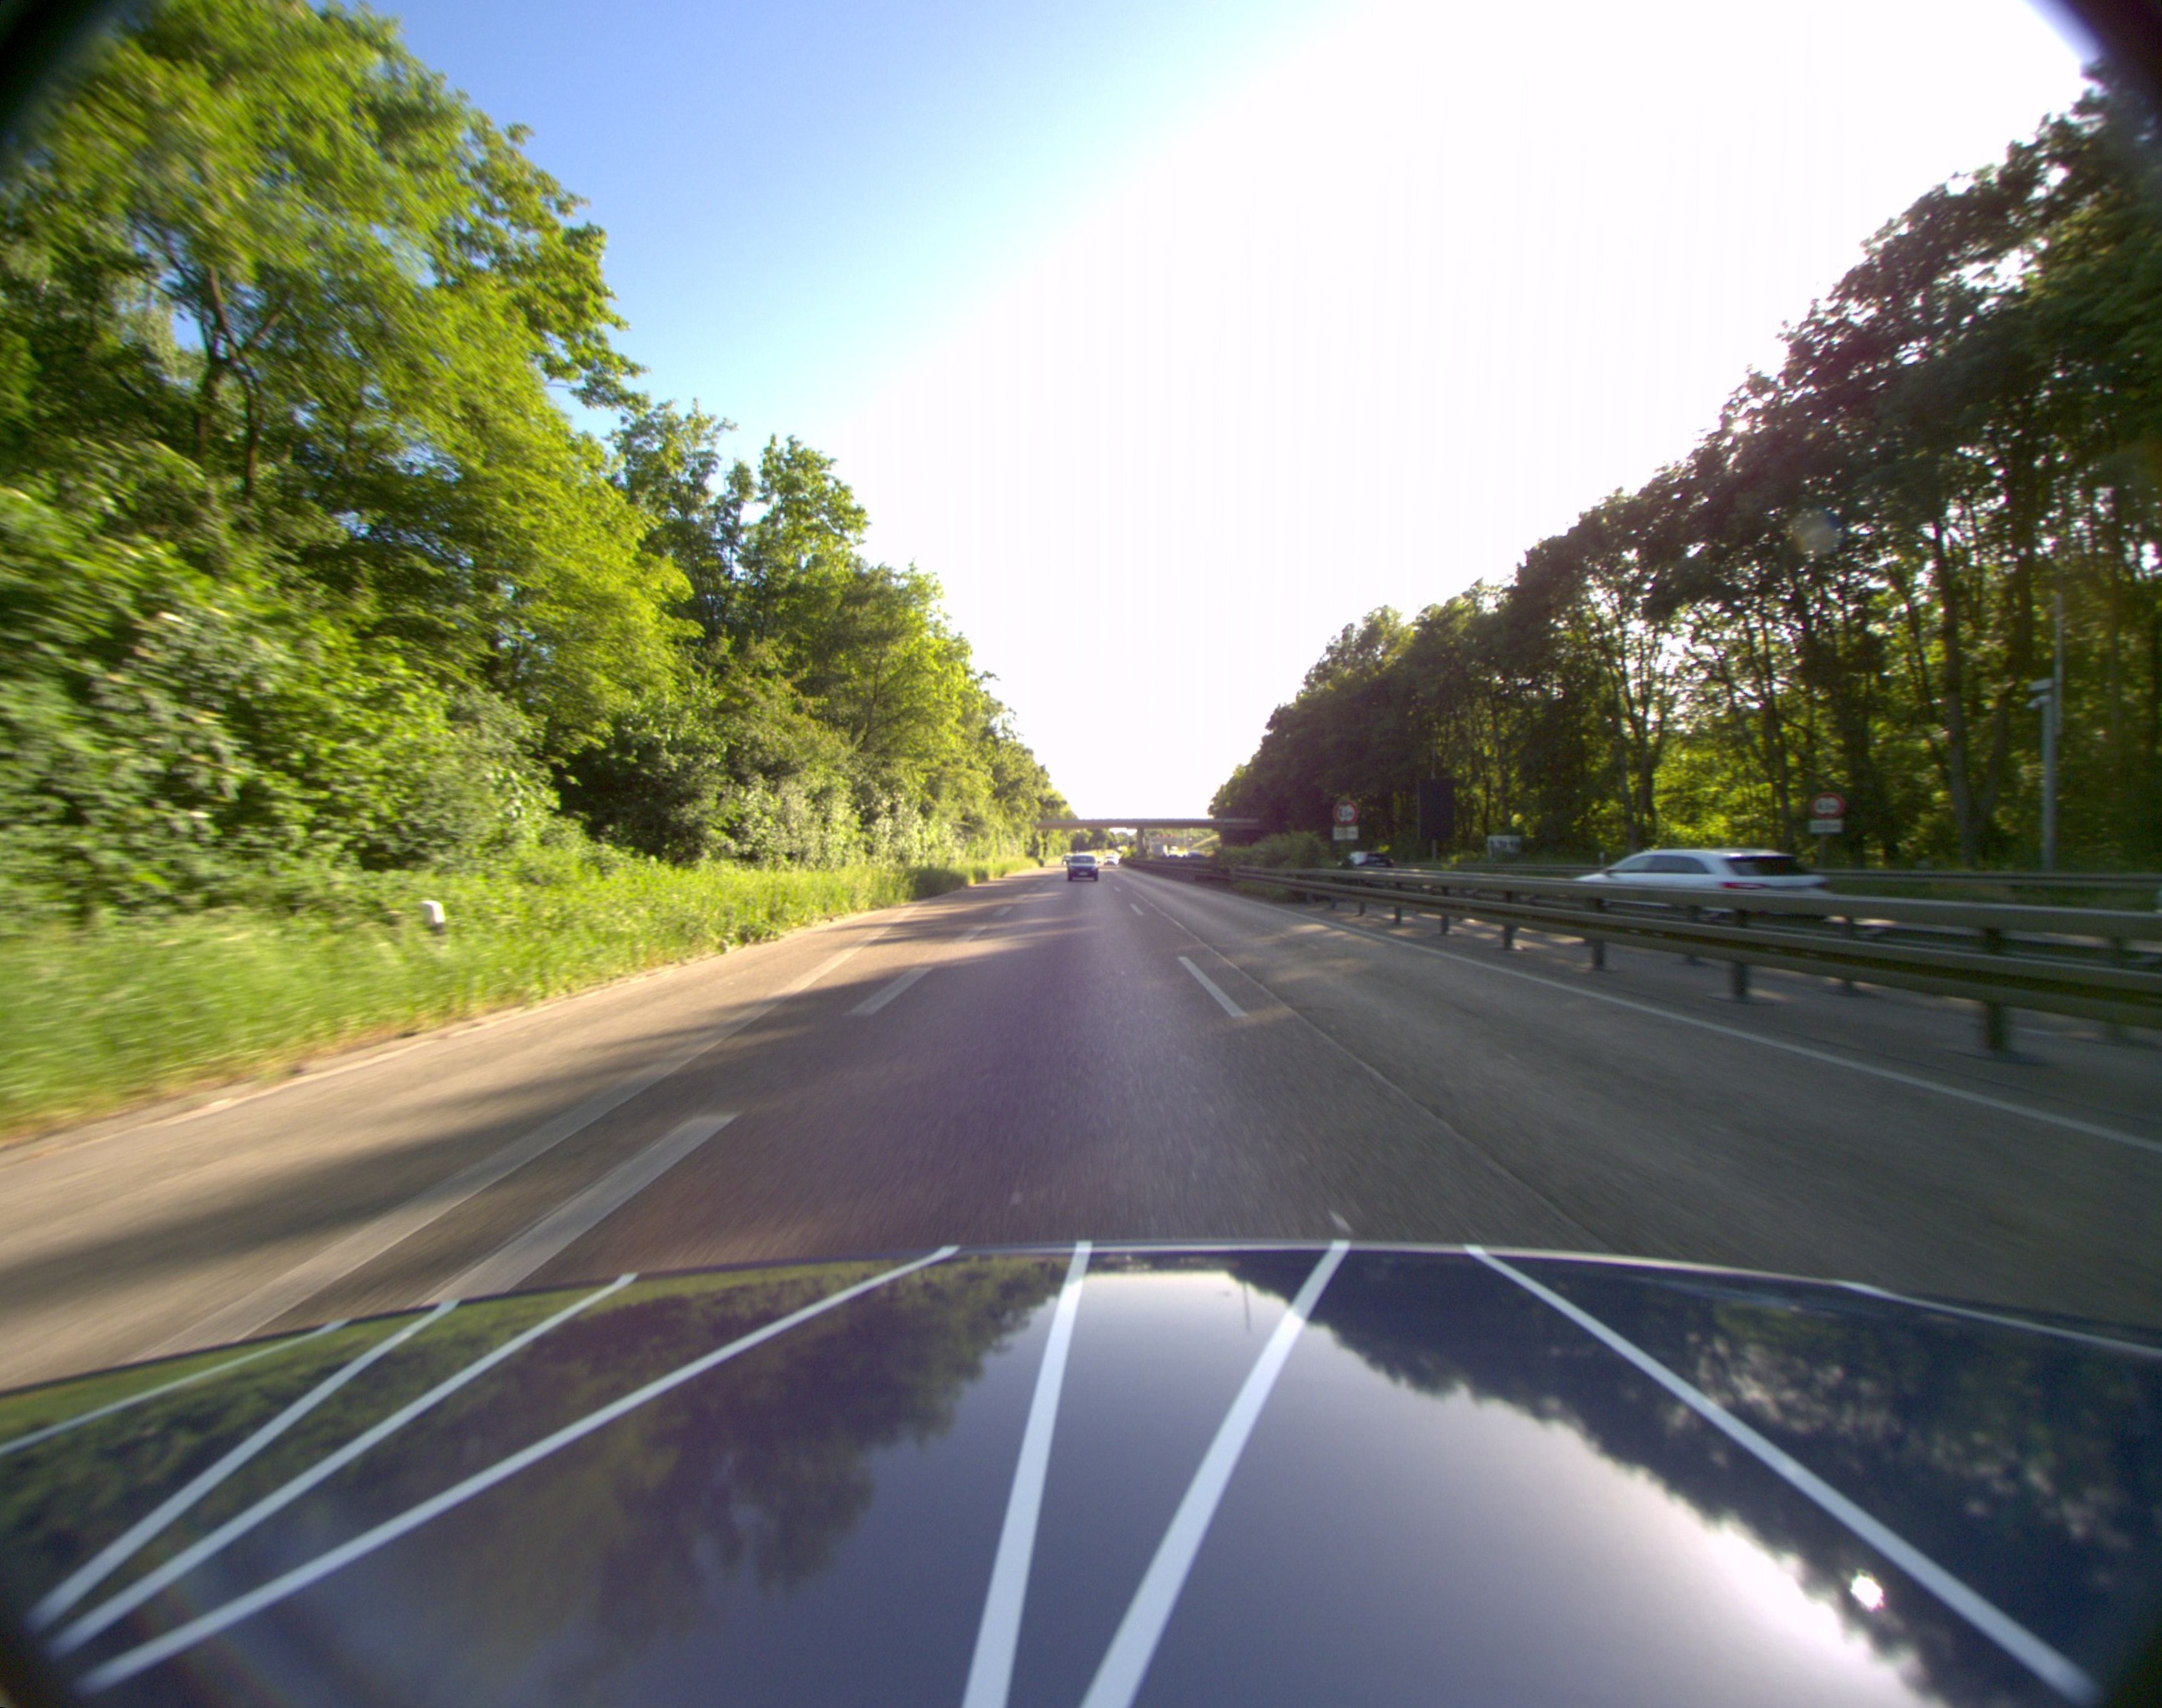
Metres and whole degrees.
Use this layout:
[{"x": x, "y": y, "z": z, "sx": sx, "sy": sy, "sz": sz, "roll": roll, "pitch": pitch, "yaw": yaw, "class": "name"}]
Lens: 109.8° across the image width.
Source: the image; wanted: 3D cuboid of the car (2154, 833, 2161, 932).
[{"x": 18.321, "y": 0.484, "z": 9.903, "sx": 1.998, "sy": 1.591, "sz": 4.707, "roll": 0, "pitch": 1, "yaw": 0, "class": "car"}]

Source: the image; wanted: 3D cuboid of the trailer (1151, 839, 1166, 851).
[{"x": 20.519, "y": -2.383, "z": 201.157, "sx": 2.937, "sy": 3.150, "sz": 11.916, "roll": 0, "pitch": 1, "yaw": 2, "class": "trailer"}]

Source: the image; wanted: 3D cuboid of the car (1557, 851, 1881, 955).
[{"x": 11.226, "y": 0.734, "z": 13.964, "sx": 1.998, "sy": 1.551, "sz": 4.707, "roll": 0, "pitch": 1, "yaw": 0, "class": "car"}]

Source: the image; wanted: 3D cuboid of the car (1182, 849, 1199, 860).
[{"x": 17.050, "y": 0.077, "z": 118.377, "sx": 1.998, "sy": 1.740, "sz": 4.372, "roll": 0, "pitch": 1, "yaw": 1, "class": "car"}]

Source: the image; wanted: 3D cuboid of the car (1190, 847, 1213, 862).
[{"x": 12.121, "y": 0.037, "z": 76.530, "sx": 1.754, "sy": 1.488, "sz": 3.942, "roll": 0, "pitch": 1, "yaw": 0, "class": "car"}]

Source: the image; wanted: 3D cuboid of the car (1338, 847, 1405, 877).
[{"x": 15.399, "y": 0.392, "z": 40.553, "sx": 1.998, "sy": 1.531, "sz": 4.118, "roll": 0, "pitch": 1, "yaw": 0, "class": "car"}]

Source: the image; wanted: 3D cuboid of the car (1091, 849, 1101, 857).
[{"x": 3.030, "y": -0.237, "z": 155.385, "sx": 1.998, "sy": 1.740, "sz": 4.373, "roll": 0, "pitch": 1, "yaw": 2, "class": "car"}]

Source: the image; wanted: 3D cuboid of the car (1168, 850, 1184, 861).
[{"x": 13.040, "y": 0.145, "z": 104.665, "sx": 1.734, "sy": 1.480, "sz": 4.396, "roll": -1, "pitch": 0, "yaw": 1, "class": "car"}]

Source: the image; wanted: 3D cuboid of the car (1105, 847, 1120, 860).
[{"x": 4.448, "y": -0.092, "z": 107.783, "sx": 1.998, "sy": 1.793, "sz": 4.000, "roll": 0, "pitch": 1, "yaw": 2, "class": "car"}]

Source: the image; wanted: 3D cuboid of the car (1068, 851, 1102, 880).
[{"x": 0.279, "y": 0.645, "z": 44.343, "sx": 1.712, "sy": 1.565, "sz": 3.423, "roll": -3, "pitch": 1, "yaw": 4, "class": "car"}]
